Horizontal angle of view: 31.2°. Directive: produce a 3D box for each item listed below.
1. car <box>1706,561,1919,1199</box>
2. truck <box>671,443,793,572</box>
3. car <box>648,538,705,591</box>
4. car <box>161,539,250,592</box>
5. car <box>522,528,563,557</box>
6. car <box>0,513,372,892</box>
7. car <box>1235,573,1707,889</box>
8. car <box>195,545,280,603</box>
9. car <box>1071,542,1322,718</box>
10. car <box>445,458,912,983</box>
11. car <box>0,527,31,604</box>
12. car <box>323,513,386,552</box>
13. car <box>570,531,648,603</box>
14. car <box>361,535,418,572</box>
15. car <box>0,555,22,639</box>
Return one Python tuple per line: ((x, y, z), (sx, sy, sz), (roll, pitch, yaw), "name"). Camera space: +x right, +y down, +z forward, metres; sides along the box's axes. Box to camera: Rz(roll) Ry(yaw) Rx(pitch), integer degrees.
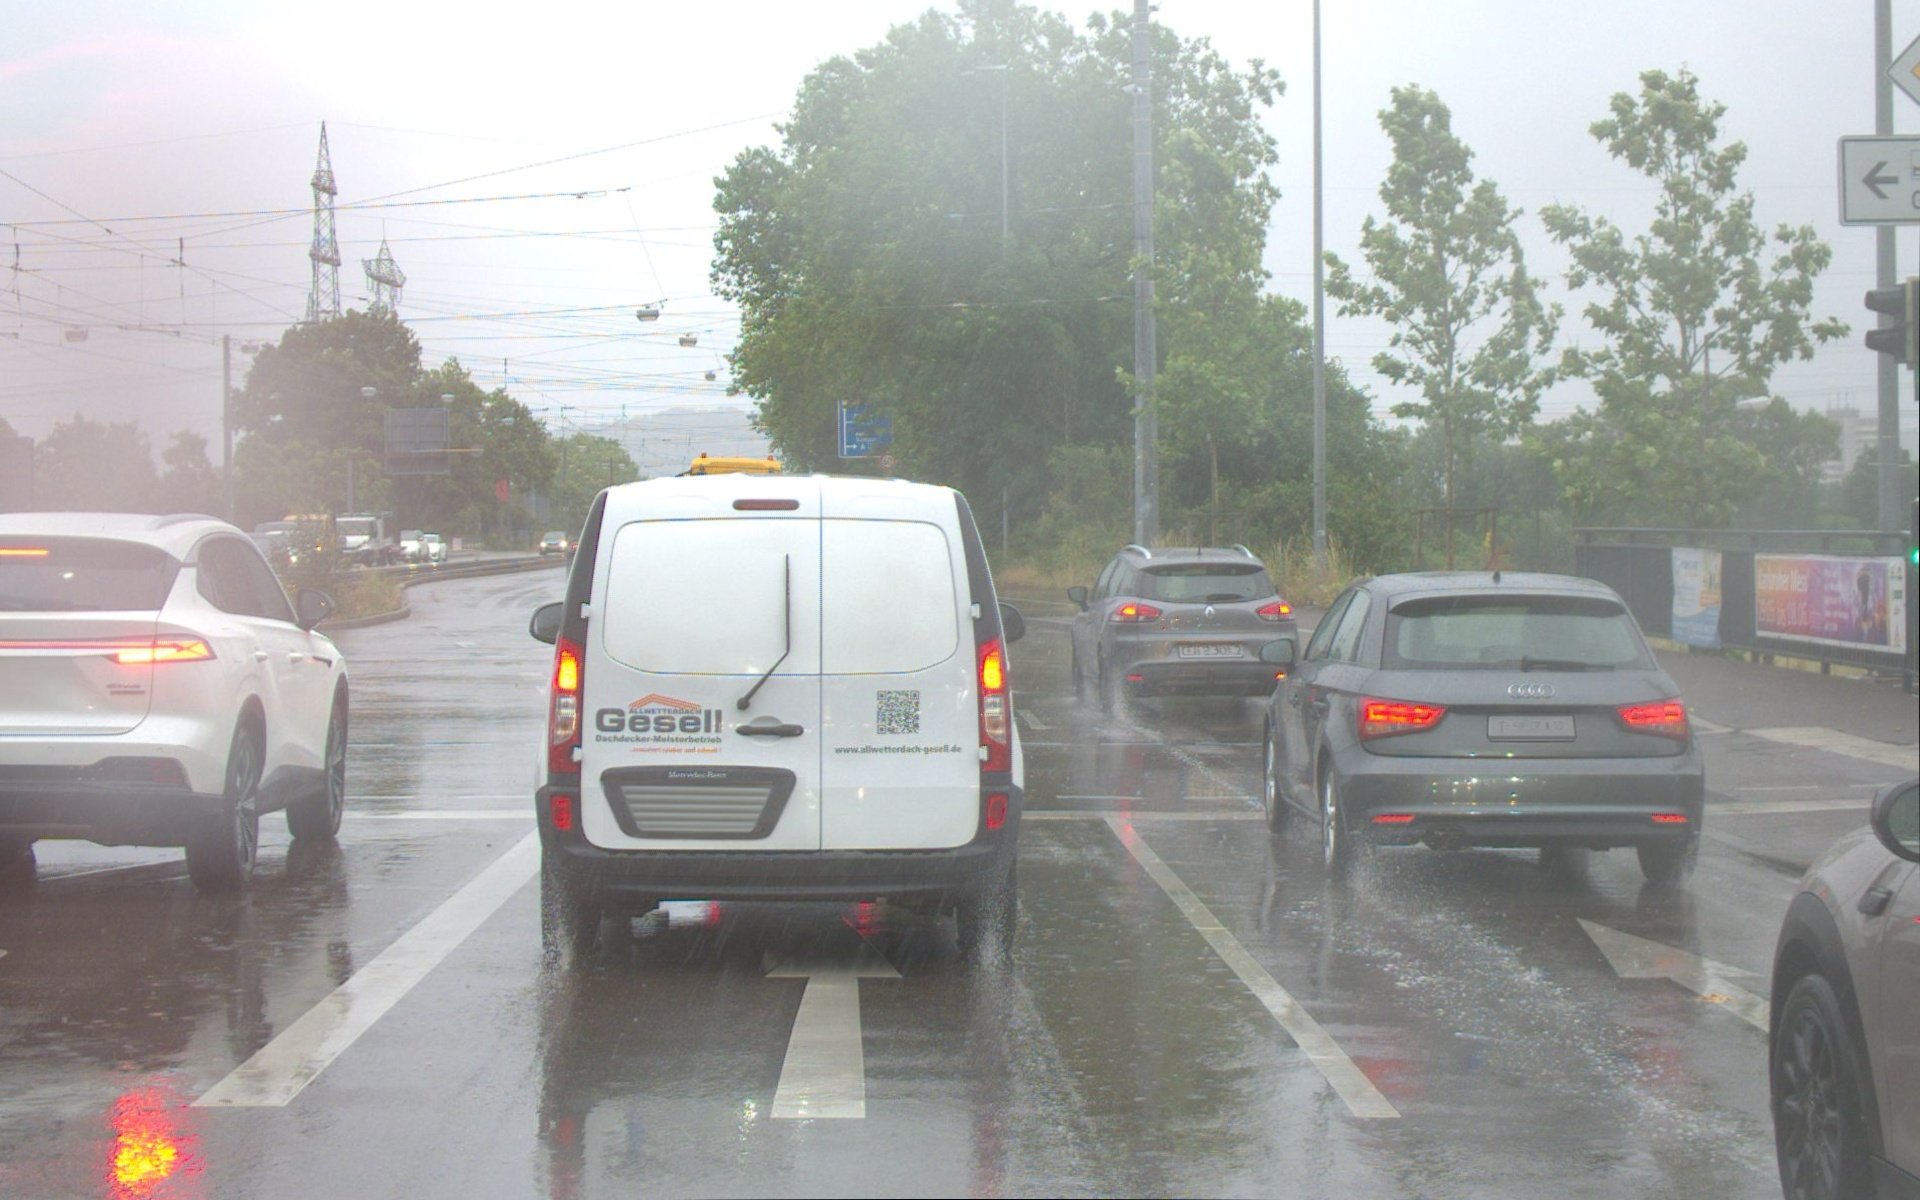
((2.597, 0.703, 5.944), (1.713, 1.503, 3.624), (1, 1, -2), "car")
((-5.180, -2.045, 78.591), (2.632, 2.806, 7.146), (0, 0, -3), "truck")
((-10.228, -1.261, 124.264), (1.993, 1.853, 4.001), (1, 0, -5), "car")
((-22.474, -1.022, 102.480), (1.763, 1.544, 3.680), (1, 0, 1), "car")
((-26.134, -3.593, 215.241), (1.993, 1.751, 4.000), (1, 0, 1), "car")
((-3.936, 0.365, 16.116), (1.728, 1.530, 4.298), (1, 1, -2), "car")
((2.348, 0.552, 16.623), (1.629, 1.340, 3.624), (1, 0, -2), "car")
((-23.018, -0.835, 109.656), (1.824, 1.801, 3.769), (1, 0, 1), "car")
((2.042, 0.220, 30.688), (1.859, 1.424, 3.808), (1, 1, -2), "car")
((-0.986, 0.392, 13.711), (1.566, 1.782, 4.000), (0, 1, -1), "car")
((-26.089, -0.915, 90.580), (1.993, 2.007, 4.000), (1, 0, 2), "car")
((-26.636, -2.961, 151.295), (1.993, 1.657, 4.000), (1, 0, 1), "car")
((-9.385, -0.867, 91.718), (1.993, 1.853, 4.001), (1, 0, -7), "car")
((-27.550, -2.231, 166.106), (1.993, 1.702, 4.000), (1, 0, 1), "car")
((-21.960, -0.077, 74.490), (1.929, 1.820, 3.999), (1, 0, 4), "car")
